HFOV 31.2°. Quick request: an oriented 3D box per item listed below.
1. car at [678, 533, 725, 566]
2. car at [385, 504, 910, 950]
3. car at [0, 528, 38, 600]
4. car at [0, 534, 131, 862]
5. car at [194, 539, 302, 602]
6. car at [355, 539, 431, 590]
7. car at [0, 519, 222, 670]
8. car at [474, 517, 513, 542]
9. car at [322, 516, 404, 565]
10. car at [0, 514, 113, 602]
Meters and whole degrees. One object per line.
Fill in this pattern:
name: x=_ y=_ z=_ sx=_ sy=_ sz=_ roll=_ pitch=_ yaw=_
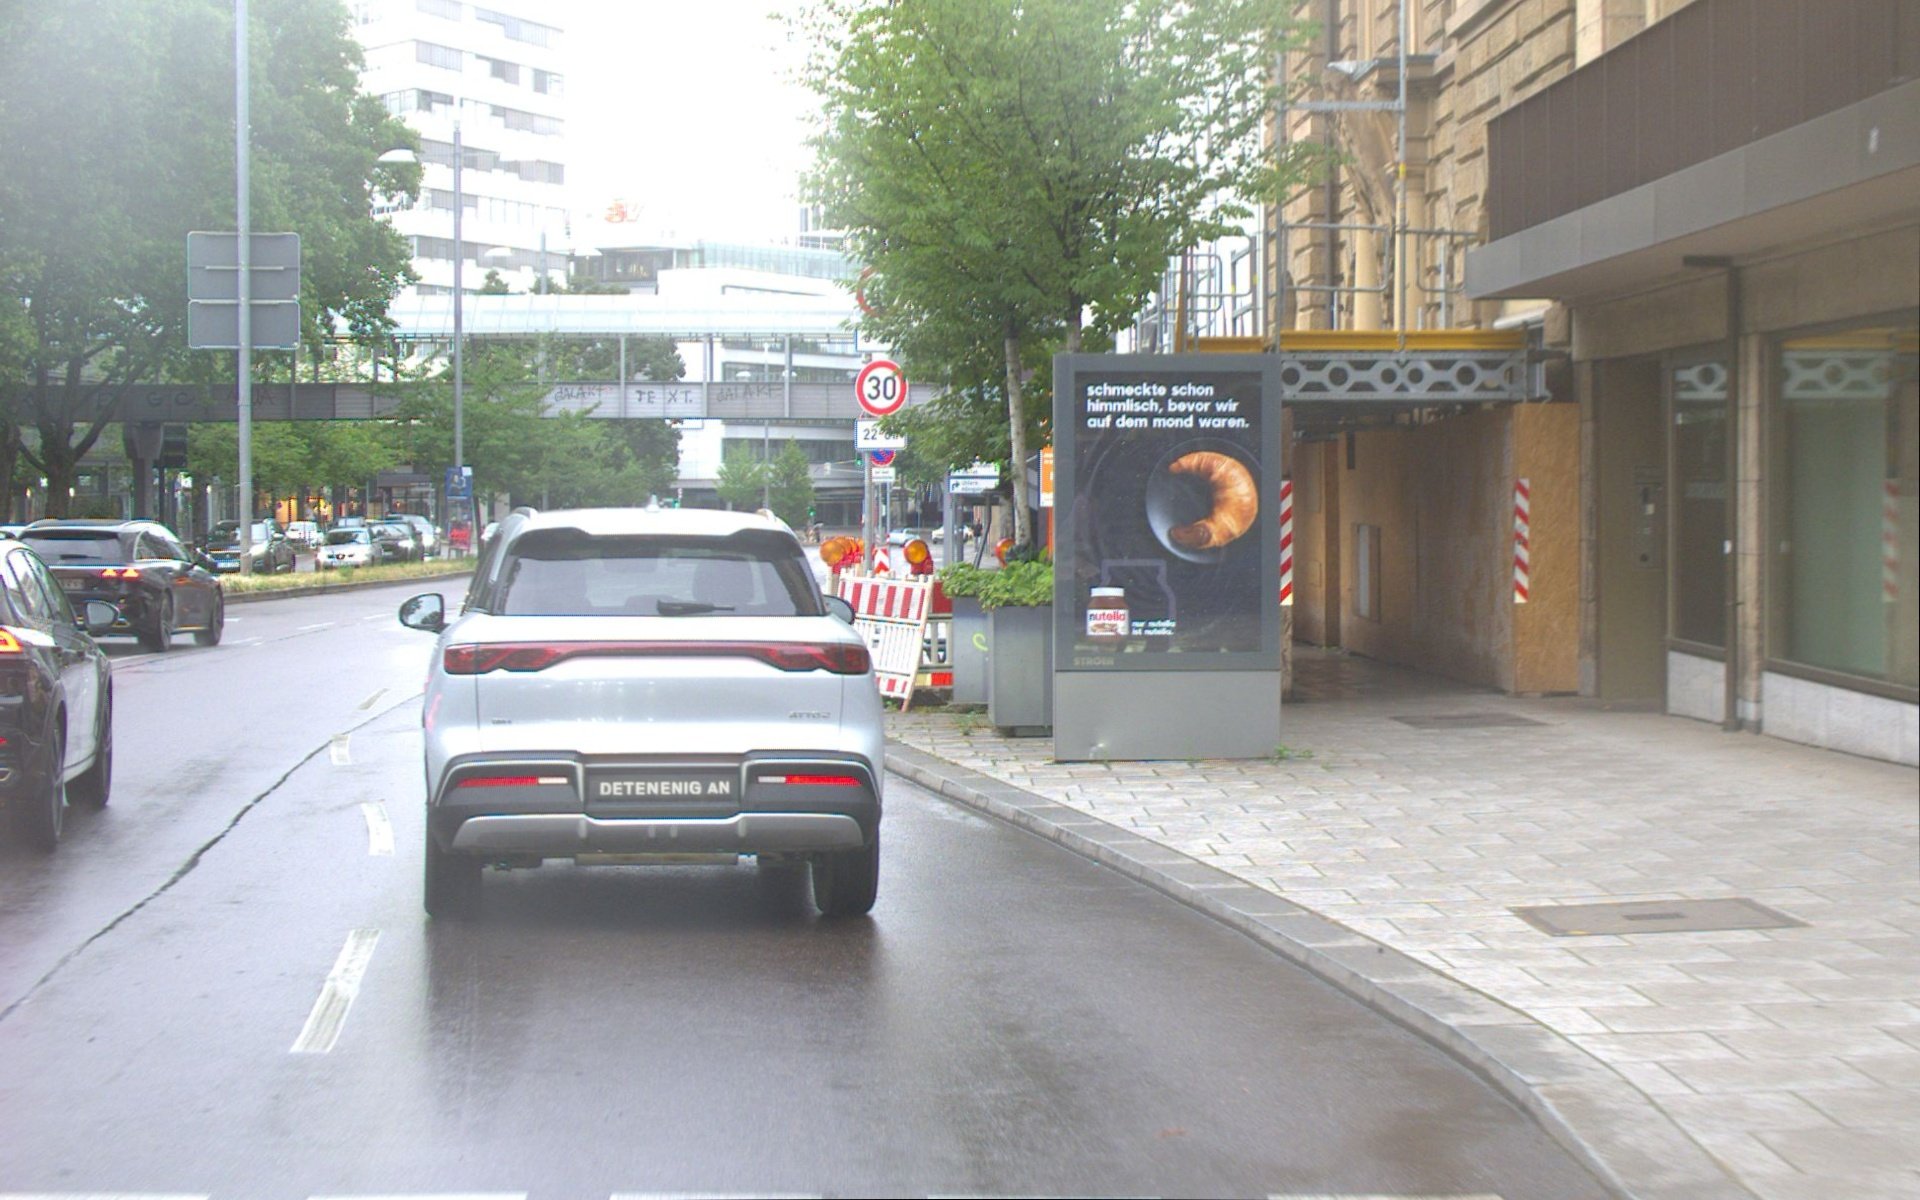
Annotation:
car: x=-11.010 y=-2.160 z=146.639 sx=1.653 sy=1.337 sz=4.000 roll=1 pitch=1 yaw=0
car: x=-1.435 y=0.432 z=14.770 sx=1.900 sy=1.616 sz=4.001 roll=2 pitch=1 yaw=-8
car: x=-19.898 y=-0.716 z=68.570 sx=1.727 sy=1.427 sz=4.395 roll=0 pitch=0 yaw=2
car: x=-5.234 y=0.411 z=17.095 sx=1.773 sy=1.452 sz=4.001 roll=0 pitch=0 yaw=-8
car: x=-16.865 y=-0.699 z=81.596 sx=1.700 sy=1.432 sz=4.582 roll=0 pitch=0 yaw=-1
car: x=-18.814 y=-1.174 z=114.234 sx=1.874 sy=1.674 sz=4.681 roll=0 pitch=0 yaw=-2
car: x=-9.601 y=-0.099 z=38.670 sx=1.811 sy=1.573 sz=4.000 roll=1 pitch=1 yaw=-1
car: x=-25.924 y=-3.901 z=191.084 sx=1.596 sy=1.355 sz=4.116 roll=0 pitch=0 yaw=1
car: x=-17.166 y=-1.697 z=99.052 sx=1.596 sy=1.355 sz=4.116 roll=0 pitch=0 yaw=1
car: x=-15.870 y=-0.707 z=58.211 sx=1.860 sy=1.437 sz=4.313 roll=0 pitch=0 yaw=2
